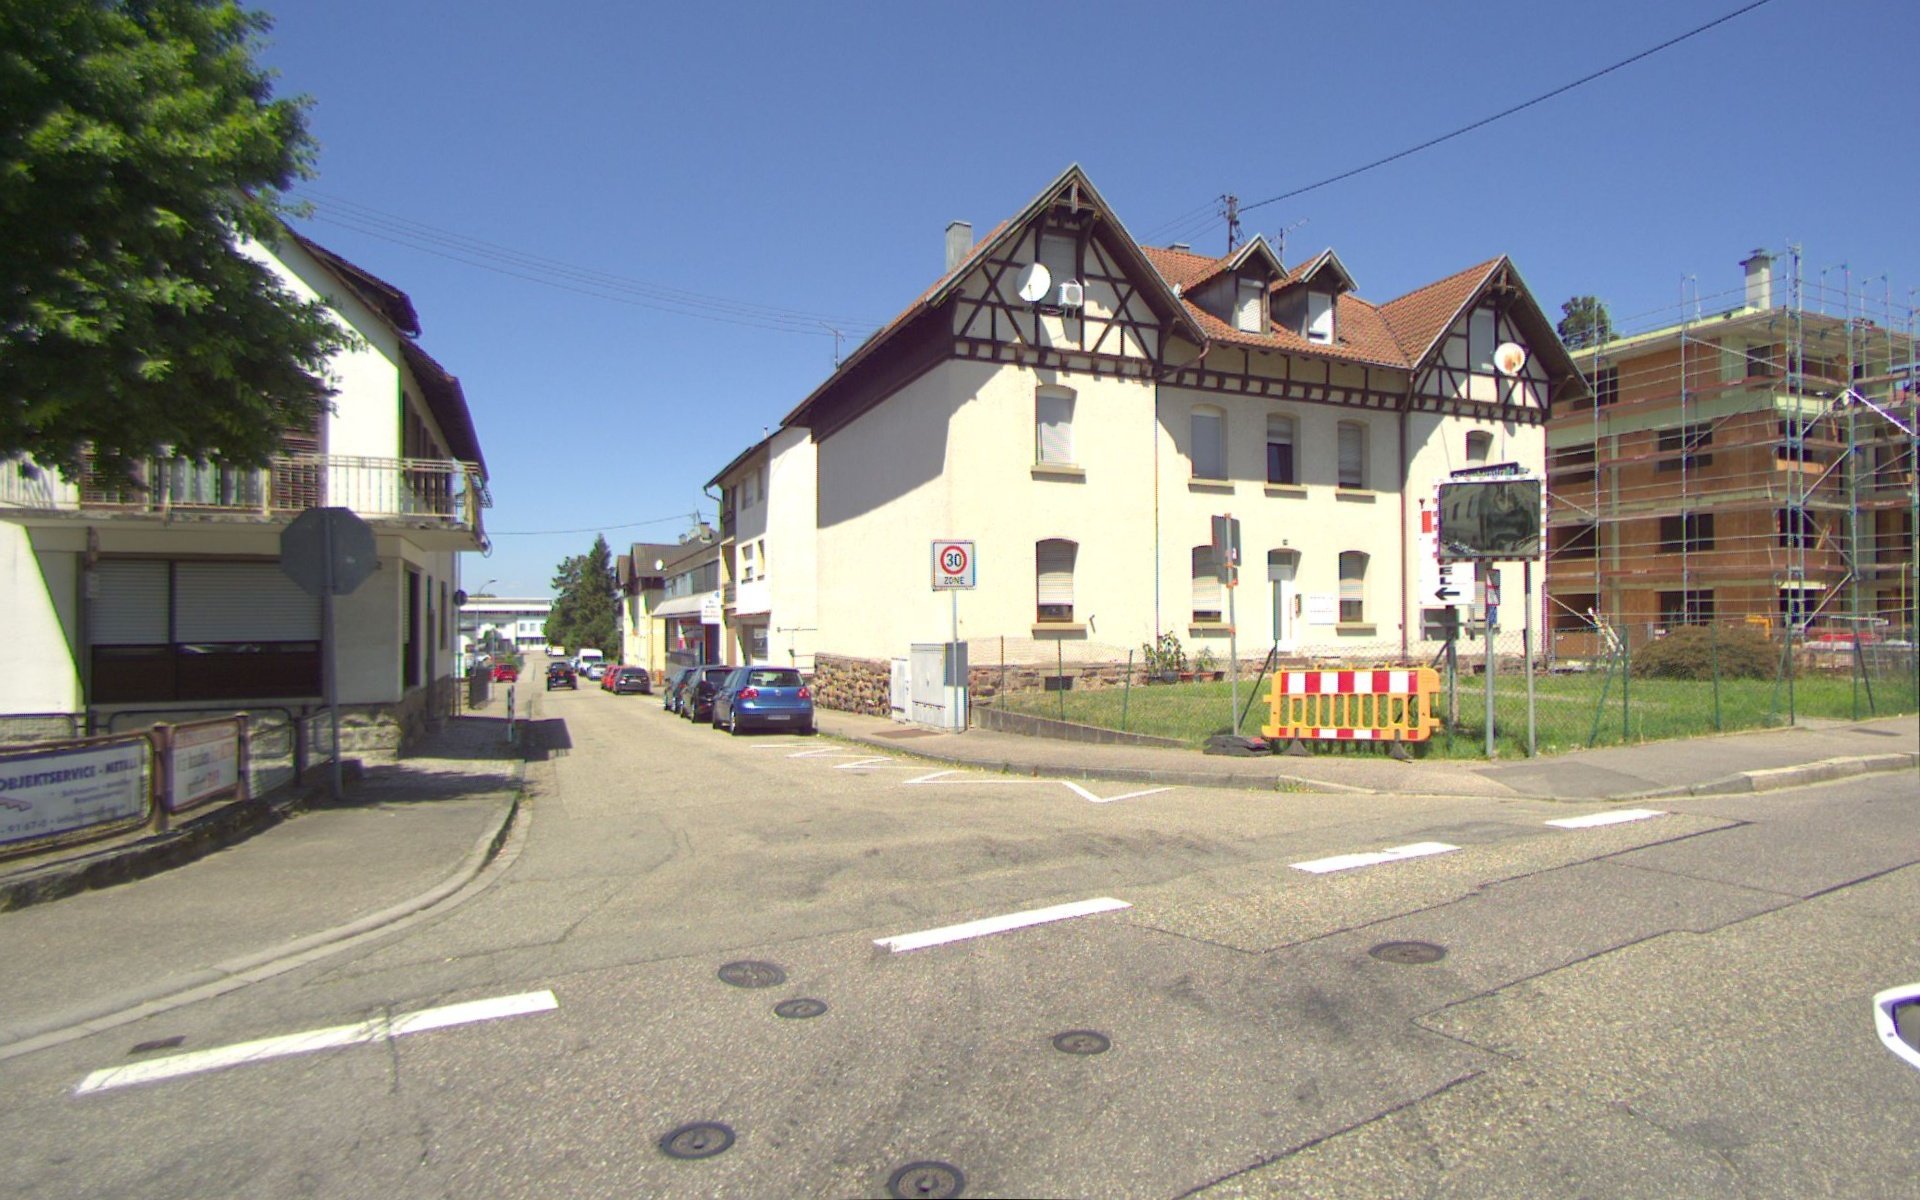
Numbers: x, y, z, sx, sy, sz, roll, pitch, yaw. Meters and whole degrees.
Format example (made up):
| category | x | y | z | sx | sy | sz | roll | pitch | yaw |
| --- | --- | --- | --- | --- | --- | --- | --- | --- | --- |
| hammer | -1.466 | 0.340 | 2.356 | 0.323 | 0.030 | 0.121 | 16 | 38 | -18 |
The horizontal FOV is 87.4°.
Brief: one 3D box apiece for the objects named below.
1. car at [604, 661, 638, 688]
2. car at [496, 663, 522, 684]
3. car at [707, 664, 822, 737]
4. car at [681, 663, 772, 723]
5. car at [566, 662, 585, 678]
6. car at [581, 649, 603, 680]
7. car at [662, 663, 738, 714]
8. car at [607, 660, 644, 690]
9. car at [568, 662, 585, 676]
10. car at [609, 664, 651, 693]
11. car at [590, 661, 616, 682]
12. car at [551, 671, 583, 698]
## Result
| category | x | y | z | sx | sy | sz | roll | pitch | yaw |
| --- | --- | --- | --- | --- | --- | --- | --- | --- | --- |
| car | -21.366 | 4.647 | 63.230 | 1.774 | 1.624 | 3.979 | 0 | -3 | -23 |
| car | -36.015 | 5.864 | 80.221 | 1.774 | 1.624 | 3.979 | 0 | -3 | -23 |
| car | -4.497 | 2.183 | 22.660 | 1.774 | 1.452 | 3.979 | 0 | -3 | -23 |
| car | -6.415 | 2.461 | 27.297 | 1.774 | 1.452 | 3.979 | 0 | -3 | -23 |
| car | -40.888 | 7.413 | 106.866 | 1.774 | 1.624 | 3.979 | 0 | -3 | -23 |
| car | -34.392 | 5.995 | 93.814 | 1.774 | 2.785 | 3.979 | 0 | -3 | -23 |
| car | -8.287 | 2.746 | 31.816 | 1.774 | 1.452 | 3.979 | 0 | -3 | -23 |
| car | -19.587 | 4.363 | 58.721 | 1.774 | 1.624 | 3.979 | 0 | -3 | -23 |
| car | -46.385 | 8.272 | 121.399 | 1.774 | 1.624 | 3.979 | 0 | -3 | -23 |
| car | -17.487 | 4.112 | 53.187 | 1.774 | 1.452 | 3.979 | 0 | -3 | -23 |
| car | -29.554 | 5.888 | 83.158 | 1.774 | 1.624 | 3.979 | 0 | -3 | -23 |
| car | -25.106 | 5.363 | 64.143 | 1.774 | 1.624 | 3.979 | 0 | -3 | -23 |
